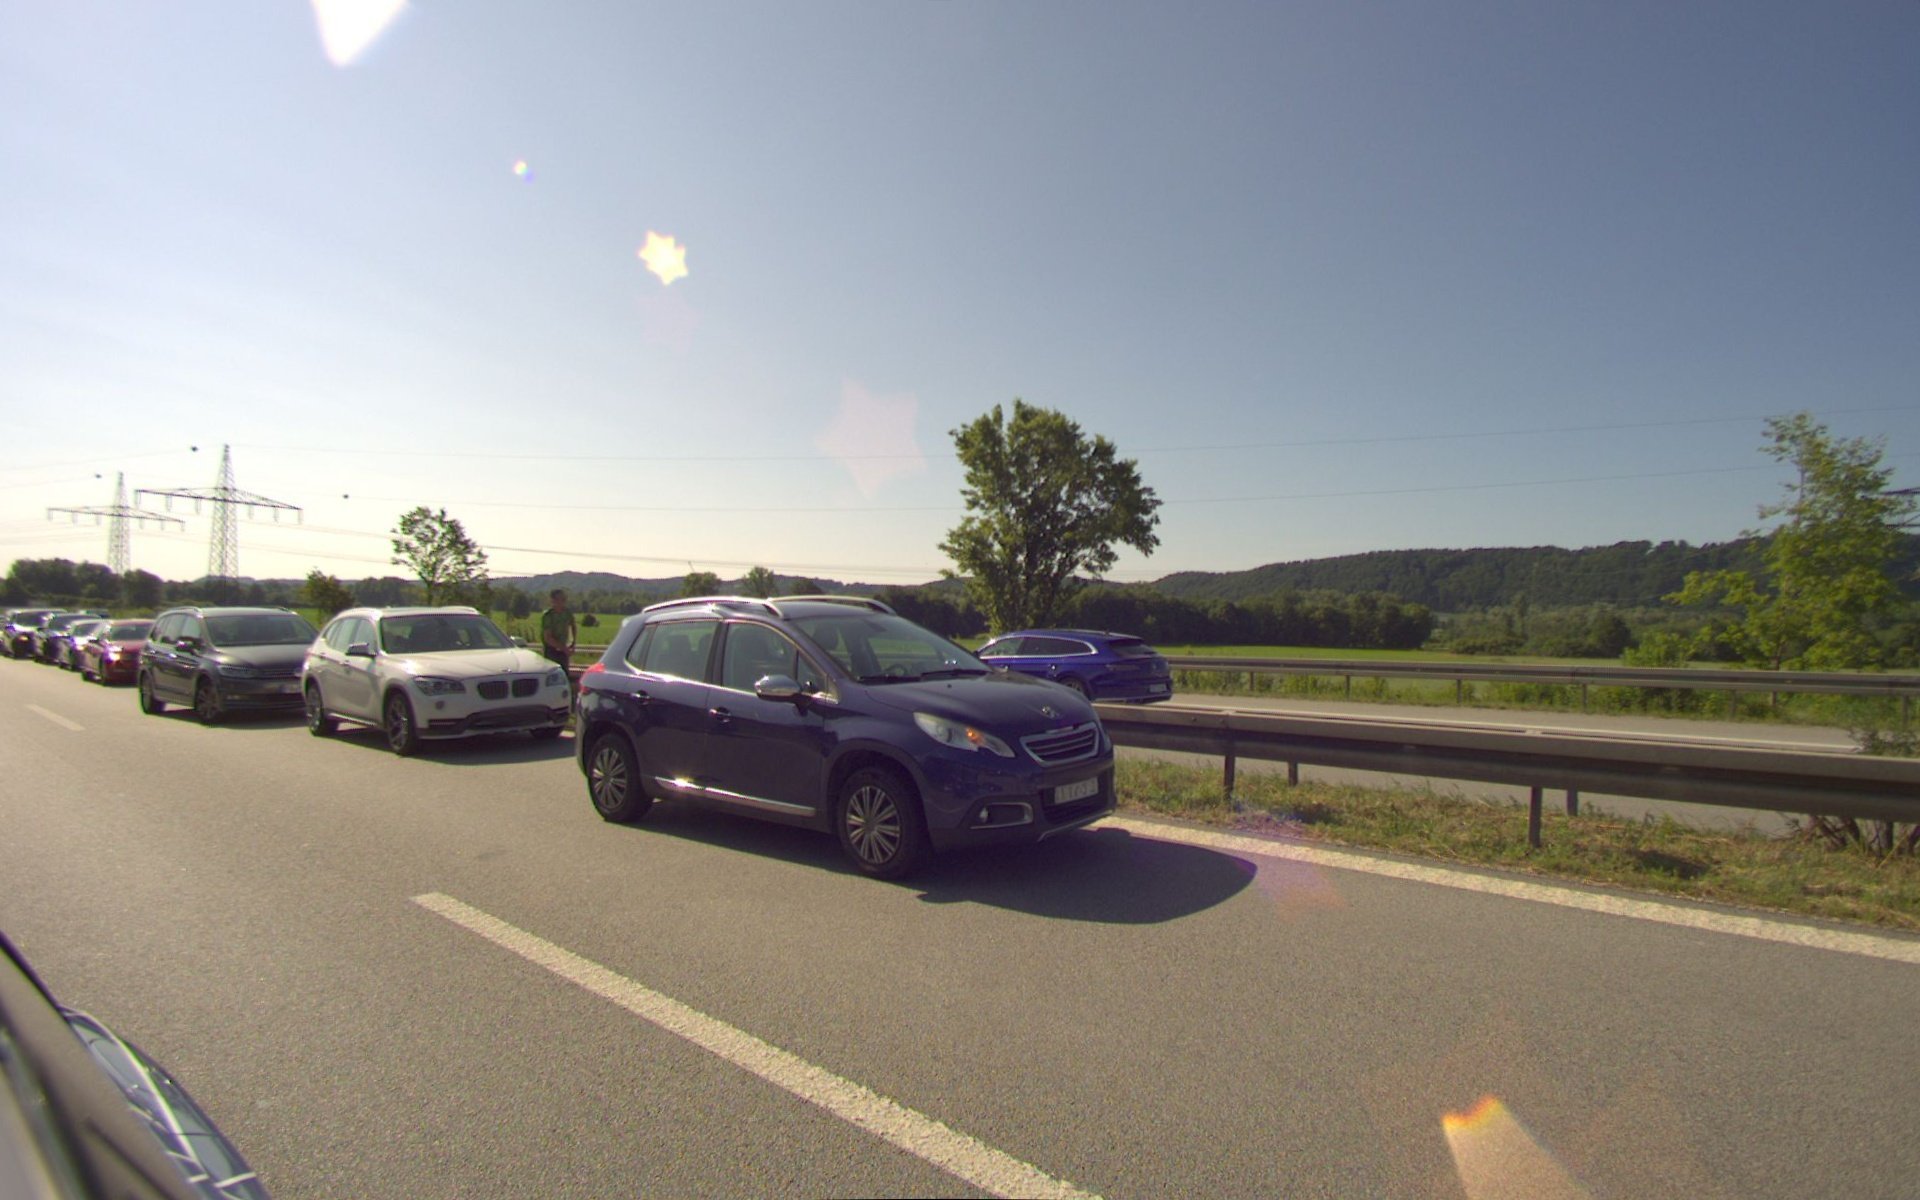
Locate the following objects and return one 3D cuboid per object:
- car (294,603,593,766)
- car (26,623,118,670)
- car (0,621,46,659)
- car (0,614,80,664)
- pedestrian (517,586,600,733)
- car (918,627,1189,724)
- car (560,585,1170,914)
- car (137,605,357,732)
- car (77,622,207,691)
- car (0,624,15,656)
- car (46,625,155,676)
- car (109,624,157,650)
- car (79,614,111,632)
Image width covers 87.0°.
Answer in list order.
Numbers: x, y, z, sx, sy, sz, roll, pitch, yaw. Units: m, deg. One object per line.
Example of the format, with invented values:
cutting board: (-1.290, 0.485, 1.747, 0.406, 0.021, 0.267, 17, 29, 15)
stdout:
car: (-6.194, 0.862, 11.924, 4.163, 1.586, 1.808, -1, -1, 42)
car: (-29.798, 1.513, 33.936, 3.999, 1.466, 1.869, -1, -2, 42)
car: (-40.489, 1.665, 43.035, 3.998, 1.542, 1.973, -1, -2, 41)
car: (-35.011, 1.471, 38.412, 4.198, 1.801, 1.877, -2, -2, 41)
pedestrian: (-5.033, 0.731, 12.693, 0.814, 1.764, 0.663, -2, -2, 41)
car: (1.492, 1.195, 17.481, 4.565, 1.424, 1.694, -1, -1, 42)
car: (-0.800, 0.729, 6.672, 3.944, 1.546, 1.671, -1, 0, 39)
car: (-10.835, 0.934, 15.269, 4.115, 1.628, 1.796, -1, -1, 41)
car: (-19.155, 1.260, 23.646, 4.117, 1.470, 1.795, -2, -2, 43)
car: (-47.485, 1.920, 49.141, 3.998, 1.542, 1.973, -1, -2, 41)
car: (-25.337, 1.431, 29.789, 3.998, 1.409, 1.870, -1, -2, 41)
car: (-48.950, 2.172, 59.872, 3.786, 1.437, 1.691, -1, -2, 43)
car: (-81.787, 2.135, 95.710, 4.393, 1.644, 1.838, -1, 0, 43)
